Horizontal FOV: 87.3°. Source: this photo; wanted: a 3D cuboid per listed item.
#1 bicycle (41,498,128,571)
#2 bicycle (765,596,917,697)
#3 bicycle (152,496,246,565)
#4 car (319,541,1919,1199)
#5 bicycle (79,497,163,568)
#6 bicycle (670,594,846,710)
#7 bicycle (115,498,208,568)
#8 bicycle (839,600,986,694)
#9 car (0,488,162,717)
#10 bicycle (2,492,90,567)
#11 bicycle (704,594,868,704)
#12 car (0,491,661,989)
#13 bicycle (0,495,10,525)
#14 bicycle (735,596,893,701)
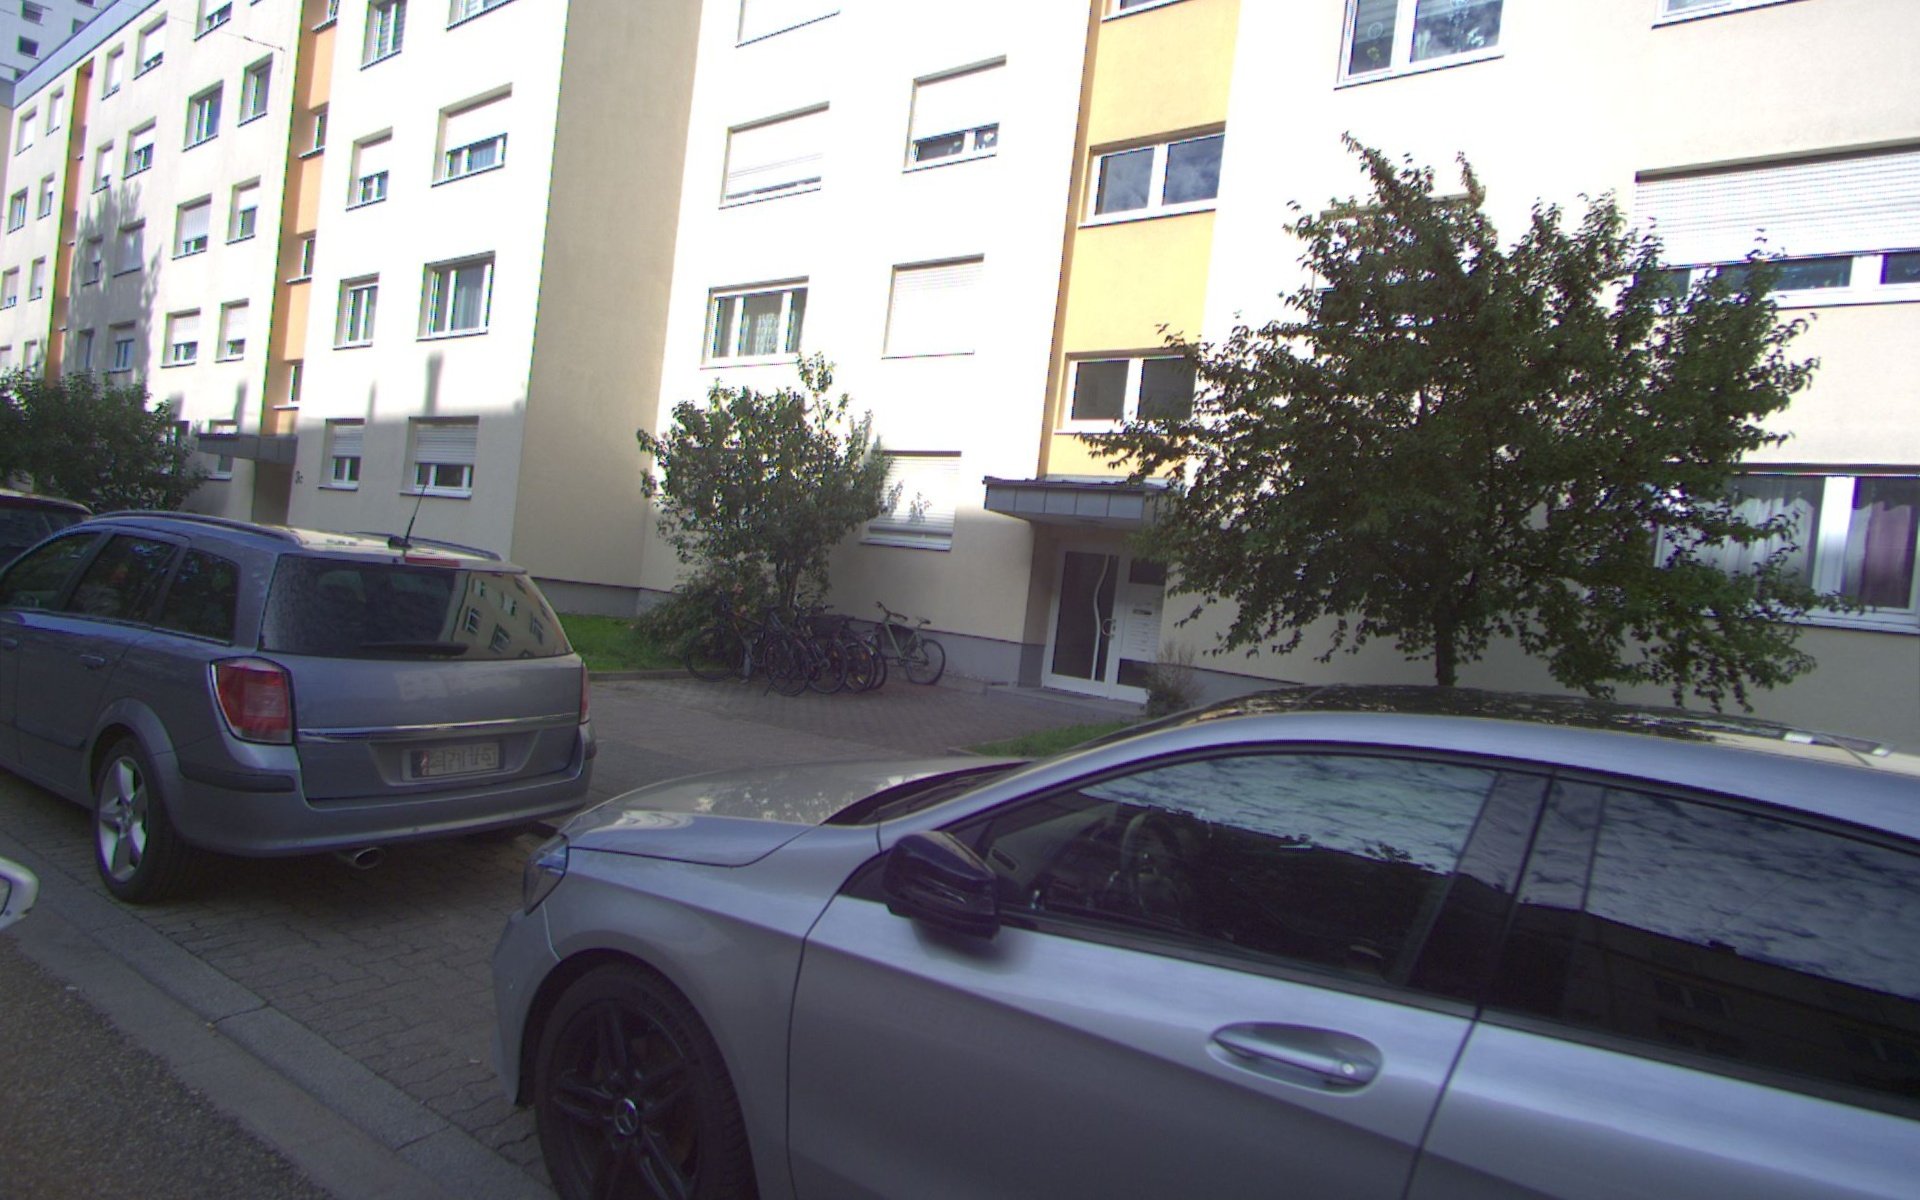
[{"bbox_3d":[-18.316,-1.390,21.024,2.592,1.308,0.604,7,3,32],"label":"bicycle"},{"bbox_3d":[-1.560,0.565,12.962,1.992,1.045,0.501,7,4,32],"label":"bicycle"},{"bbox_3d":[-17.253,-1.586,22.789,2.592,1.307,0.727,7,0,32],"label":"bicycle"},{"bbox_3d":[0.554,0.839,2.361,4.109,1.482,1.701,7,2,30],"label":"car"},{"bbox_3d":[-17.971,-1.460,21.527,2.592,1.309,0.595,7,4,32],"label":"bicycle"},{"bbox_3d":[-2.346,0.560,11.533,2.084,1.045,0.593,7,4,32],"label":"bicycle"},{"bbox_3d":[-17.588,-1.492,22.145,2.592,1.308,0.727,7,2,32],"label":"bicycle"},{"bbox_3d":[-0.694,0.633,14.138,2.099,1.045,0.501,7,4,33],"label":"bicycle"},{"bbox_3d":[-8.027,-0.154,7.764,3.876,1.511,1.662,7,2,32],"label":"car"},{"bbox_3d":[-18.619,-1.451,20.465,2.592,1.308,0.604,7,2,32],"label":"bicycle"},{"bbox_3d":[-2.121,0.553,12.093,2.061,1.045,0.501,7,4,32],"label":"bicycle"},{"bbox_3d":[-3.700,0.352,5.108,4.221,1.505,1.685,7,2,31],"label":"car"},{"bbox_3d":[-31.883,-3.008,33.118,1.491,0.939,0.459,7,2,31],"label":"bicycle"},{"bbox_3d":[-1.845,0.573,12.537,2.035,1.045,0.501,7,4,32],"label":"bicycle"}]
